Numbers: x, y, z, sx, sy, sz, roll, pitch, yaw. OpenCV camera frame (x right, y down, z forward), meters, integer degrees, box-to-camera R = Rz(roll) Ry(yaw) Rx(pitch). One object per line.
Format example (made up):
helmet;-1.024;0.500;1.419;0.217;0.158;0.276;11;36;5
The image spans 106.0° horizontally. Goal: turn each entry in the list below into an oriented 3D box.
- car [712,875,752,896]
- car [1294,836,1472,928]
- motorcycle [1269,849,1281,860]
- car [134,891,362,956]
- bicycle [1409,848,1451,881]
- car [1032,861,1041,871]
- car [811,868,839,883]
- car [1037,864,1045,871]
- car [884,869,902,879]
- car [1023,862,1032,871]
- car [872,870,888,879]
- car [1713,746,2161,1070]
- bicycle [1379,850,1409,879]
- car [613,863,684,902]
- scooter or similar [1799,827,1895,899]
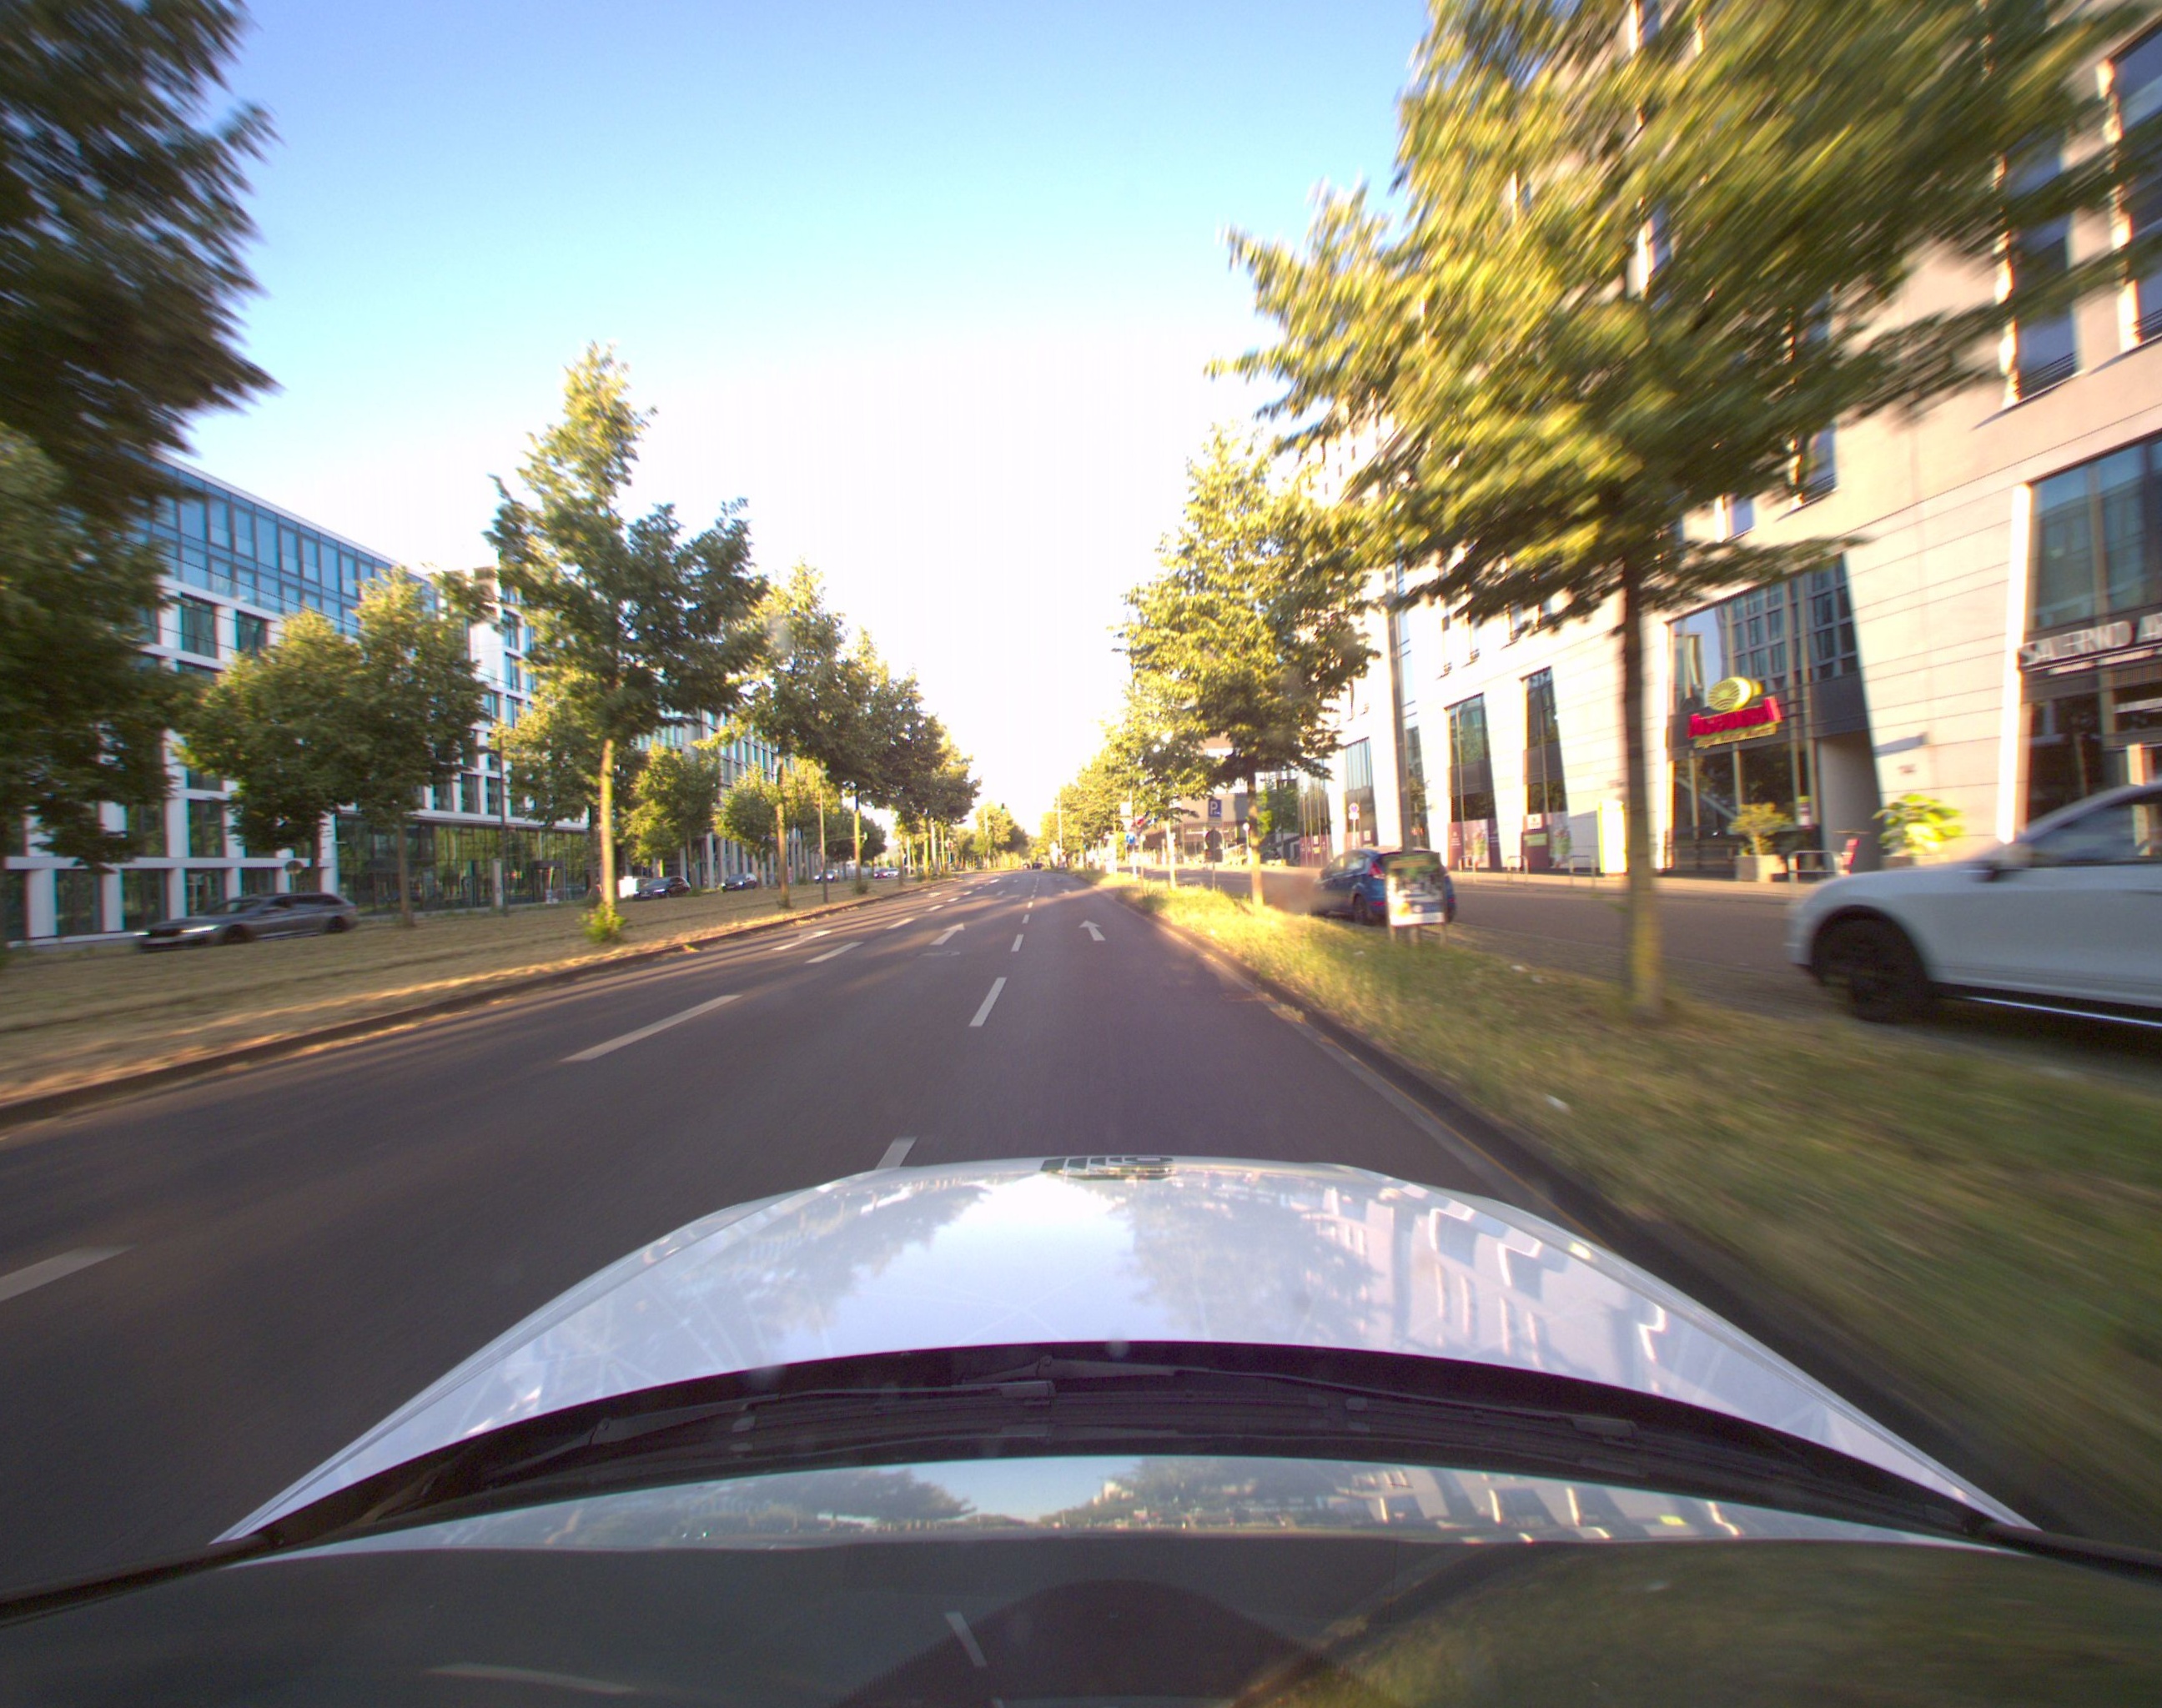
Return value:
car;-28.334;2.496;66.165;1.654;1.502;4.183;-2;0;-4
car;5.737;0.498;16.092;1.720;1.530;4.263;-1;0;-3
motorcycle;19.332;0.038;81.242;0.647;1.094;2.334;-3;0;3
car;-22.831;1.838;22.652;1.654;1.332;4.734;-3;0;-4
bicycle;12.335;0.374;28.867;0.517;1.061;1.959;-5;-1;-1
car;-10.052;2.713;183.640;1.989;2.013;3.995;-3;0;-4
car;-26.608;2.202;84.760;1.654;1.332;4.577;-2;0;-4
car;-10.055;3.366;204.602;1.867;1.574;3.674;-2;0;-2
car;-26.861;2.872;116.434;1.784;1.332;3.666;-3;0;-4
car;-13.528;3.154;205.055;2.083;2.013;3.995;-3;0;-4
car;-30.999;3.163;125.660;1.654;1.332;4.520;-2;0;-4
car;6.672;0.271;4.699;1.946;1.714;5.155;-1;0;-2
bicycle;12.238;0.410;31.927;0.444;1.072;1.774;-5;0;1
car;-24.360;1.570;46.054;1.990;2.013;3.994;-3;0;-4
scooter or similar;13.447;0.149;14.341;0.355;1.187;1.310;-4;0;-1
